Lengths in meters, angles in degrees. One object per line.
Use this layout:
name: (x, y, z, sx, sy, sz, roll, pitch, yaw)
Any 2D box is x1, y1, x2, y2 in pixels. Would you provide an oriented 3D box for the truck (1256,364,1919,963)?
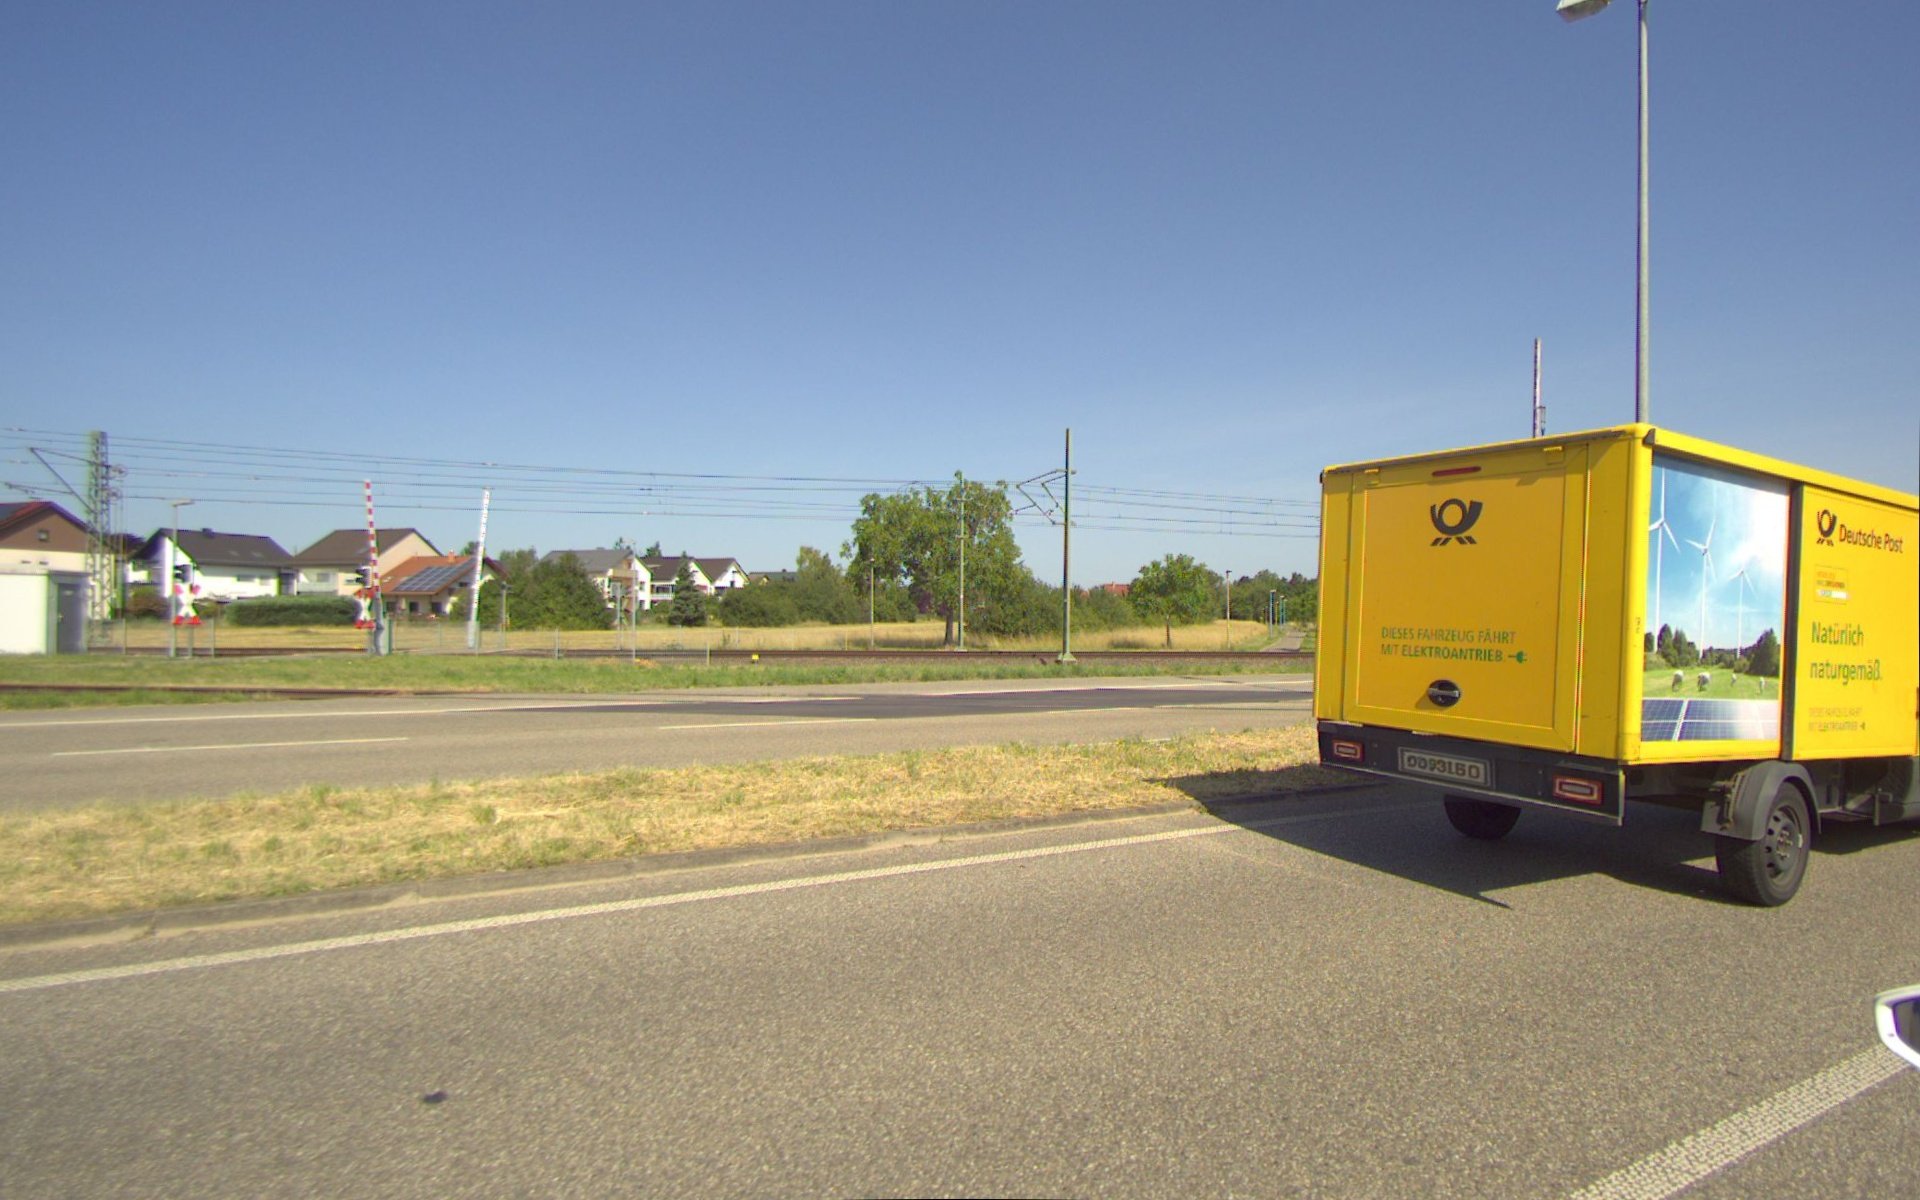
truck: (4.824, 0.308, 6.594, 5.848, 2.490, 2.101, 1, 0, -31)
